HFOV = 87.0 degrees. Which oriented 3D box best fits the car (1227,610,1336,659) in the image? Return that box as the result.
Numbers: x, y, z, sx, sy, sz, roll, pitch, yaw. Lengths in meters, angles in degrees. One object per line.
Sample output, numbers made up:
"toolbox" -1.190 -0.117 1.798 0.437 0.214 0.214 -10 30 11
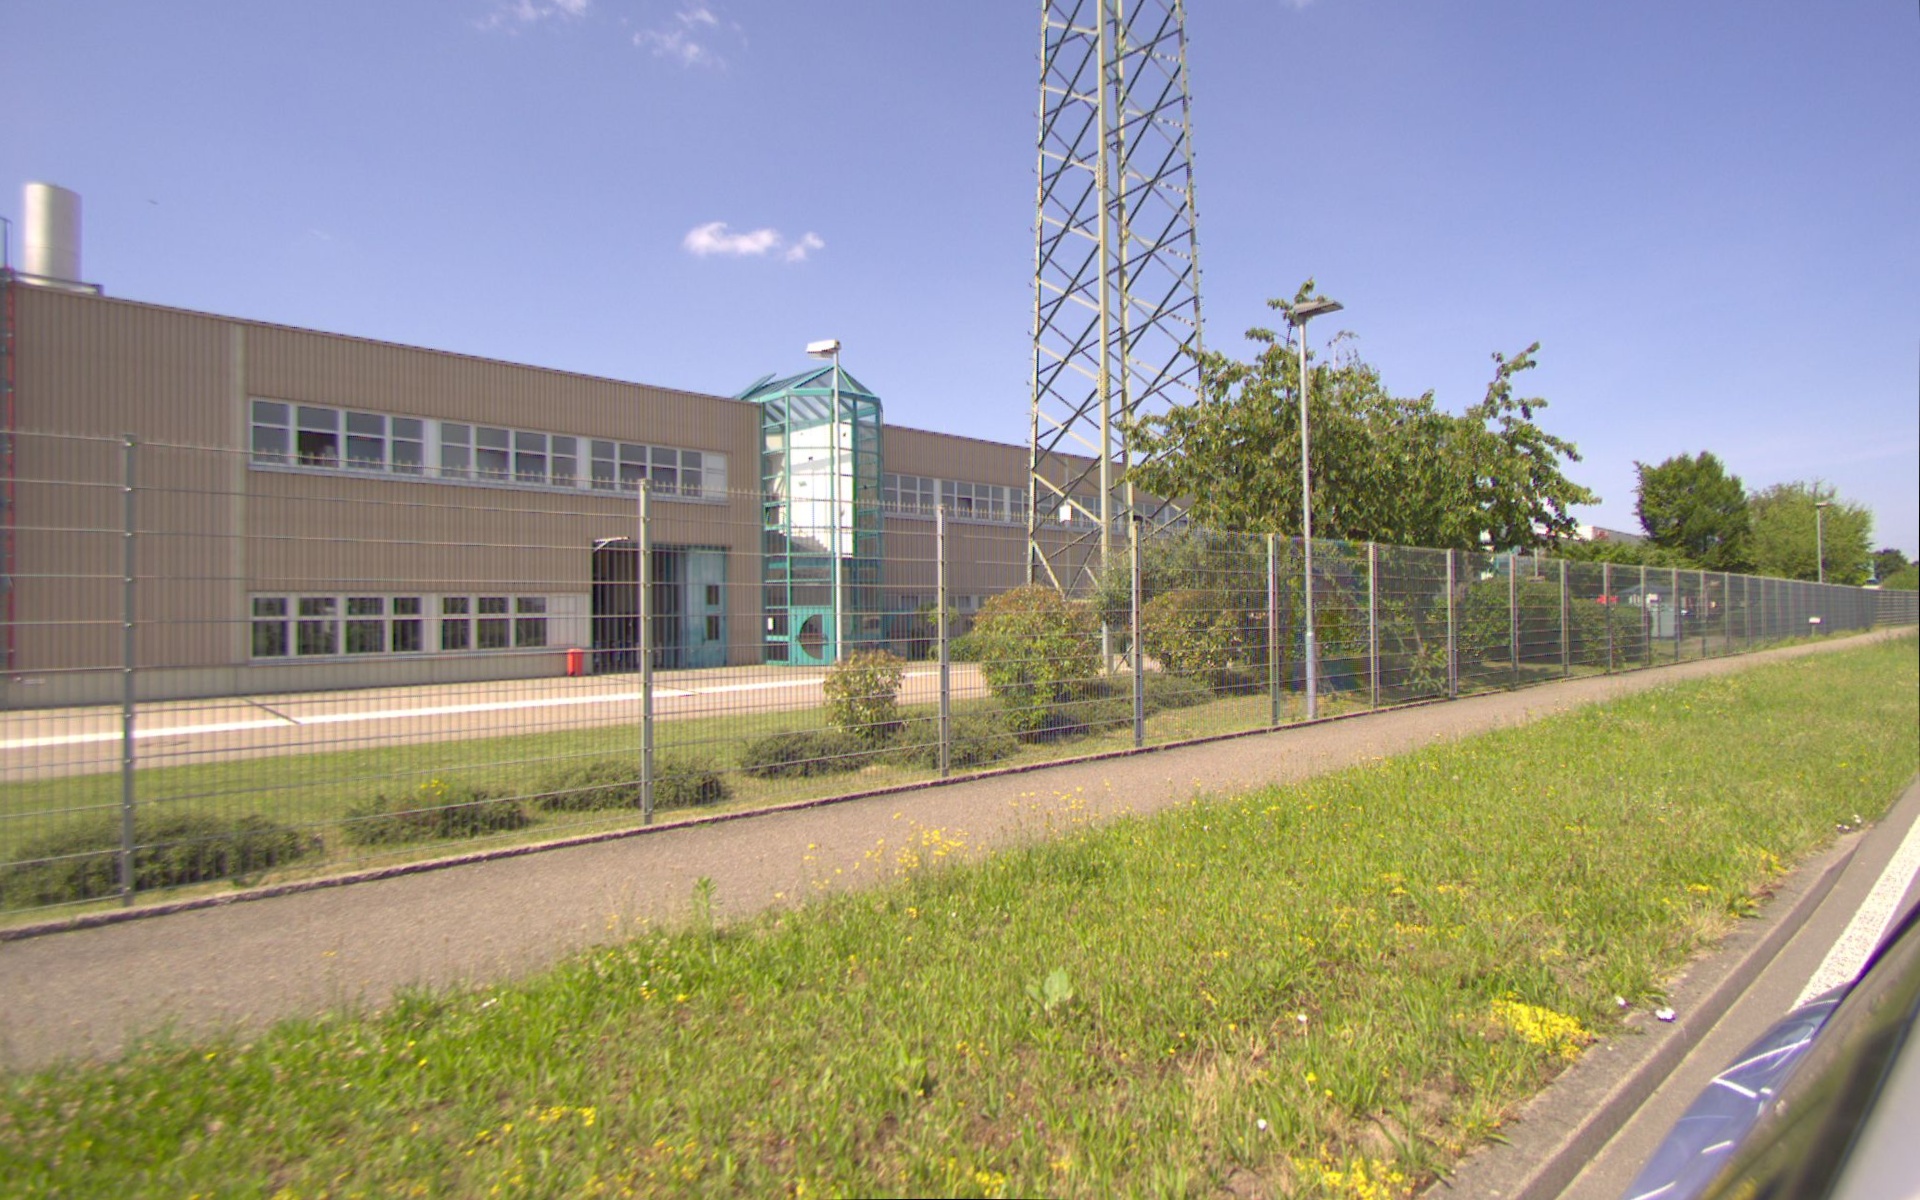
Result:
"car" 13.018 1.334 40.743 2.107 1.802 5.570 -2 -1 41
